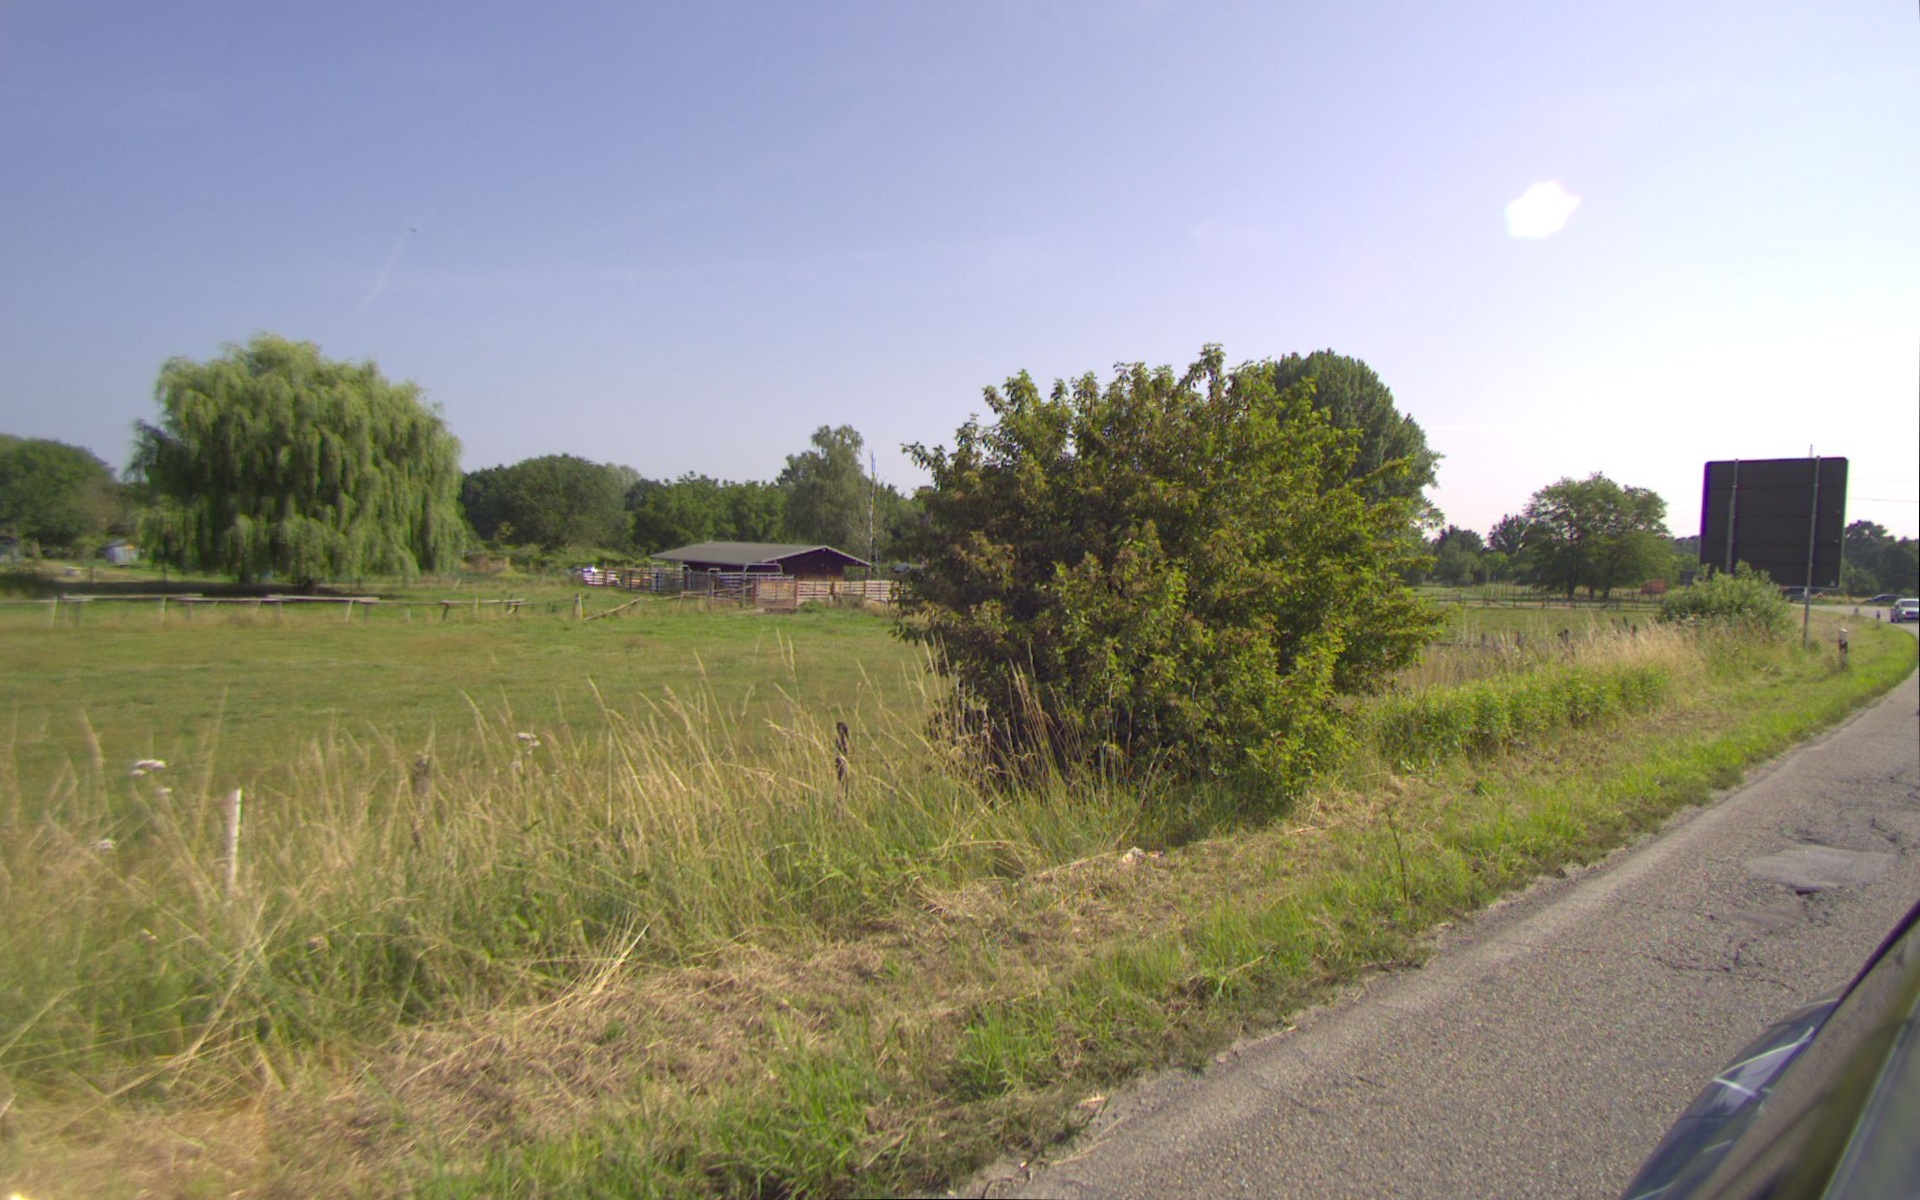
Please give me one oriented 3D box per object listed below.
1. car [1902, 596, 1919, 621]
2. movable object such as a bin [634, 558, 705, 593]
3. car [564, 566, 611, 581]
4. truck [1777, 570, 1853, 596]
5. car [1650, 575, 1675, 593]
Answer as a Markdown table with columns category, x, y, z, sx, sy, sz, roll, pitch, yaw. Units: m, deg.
| category | x | y | z | sx | sy | sz | roll | pitch | yaw |
| --- | --- | --- | --- | --- | --- | --- | --- | --- | --- |
| car | 63.923 | 0.576 | 66.903 | 1.989 | 1.599 | 3.856 | 2 | 2 | 37 |
| movable object such as a bin | -19.370 | -1.600 | 67.600 | 1.993 | 2.221 | 4.098 | 0 | 0 | 44 |
| car | -27.038 | -1.908 | 73.529 | 1.221 | 1.017 | 3.012 | 2 | 2 | 36 |
| truck | 108.898 | -2.177 | 128.963 | 7.338 | 3.083 | 2.545 | 2 | 2 | 42 |
| car | 113.482 | -2.617 | 163.514 | 2.106 | 2.729 | 5.230 | 1 | 1 | 22 |
